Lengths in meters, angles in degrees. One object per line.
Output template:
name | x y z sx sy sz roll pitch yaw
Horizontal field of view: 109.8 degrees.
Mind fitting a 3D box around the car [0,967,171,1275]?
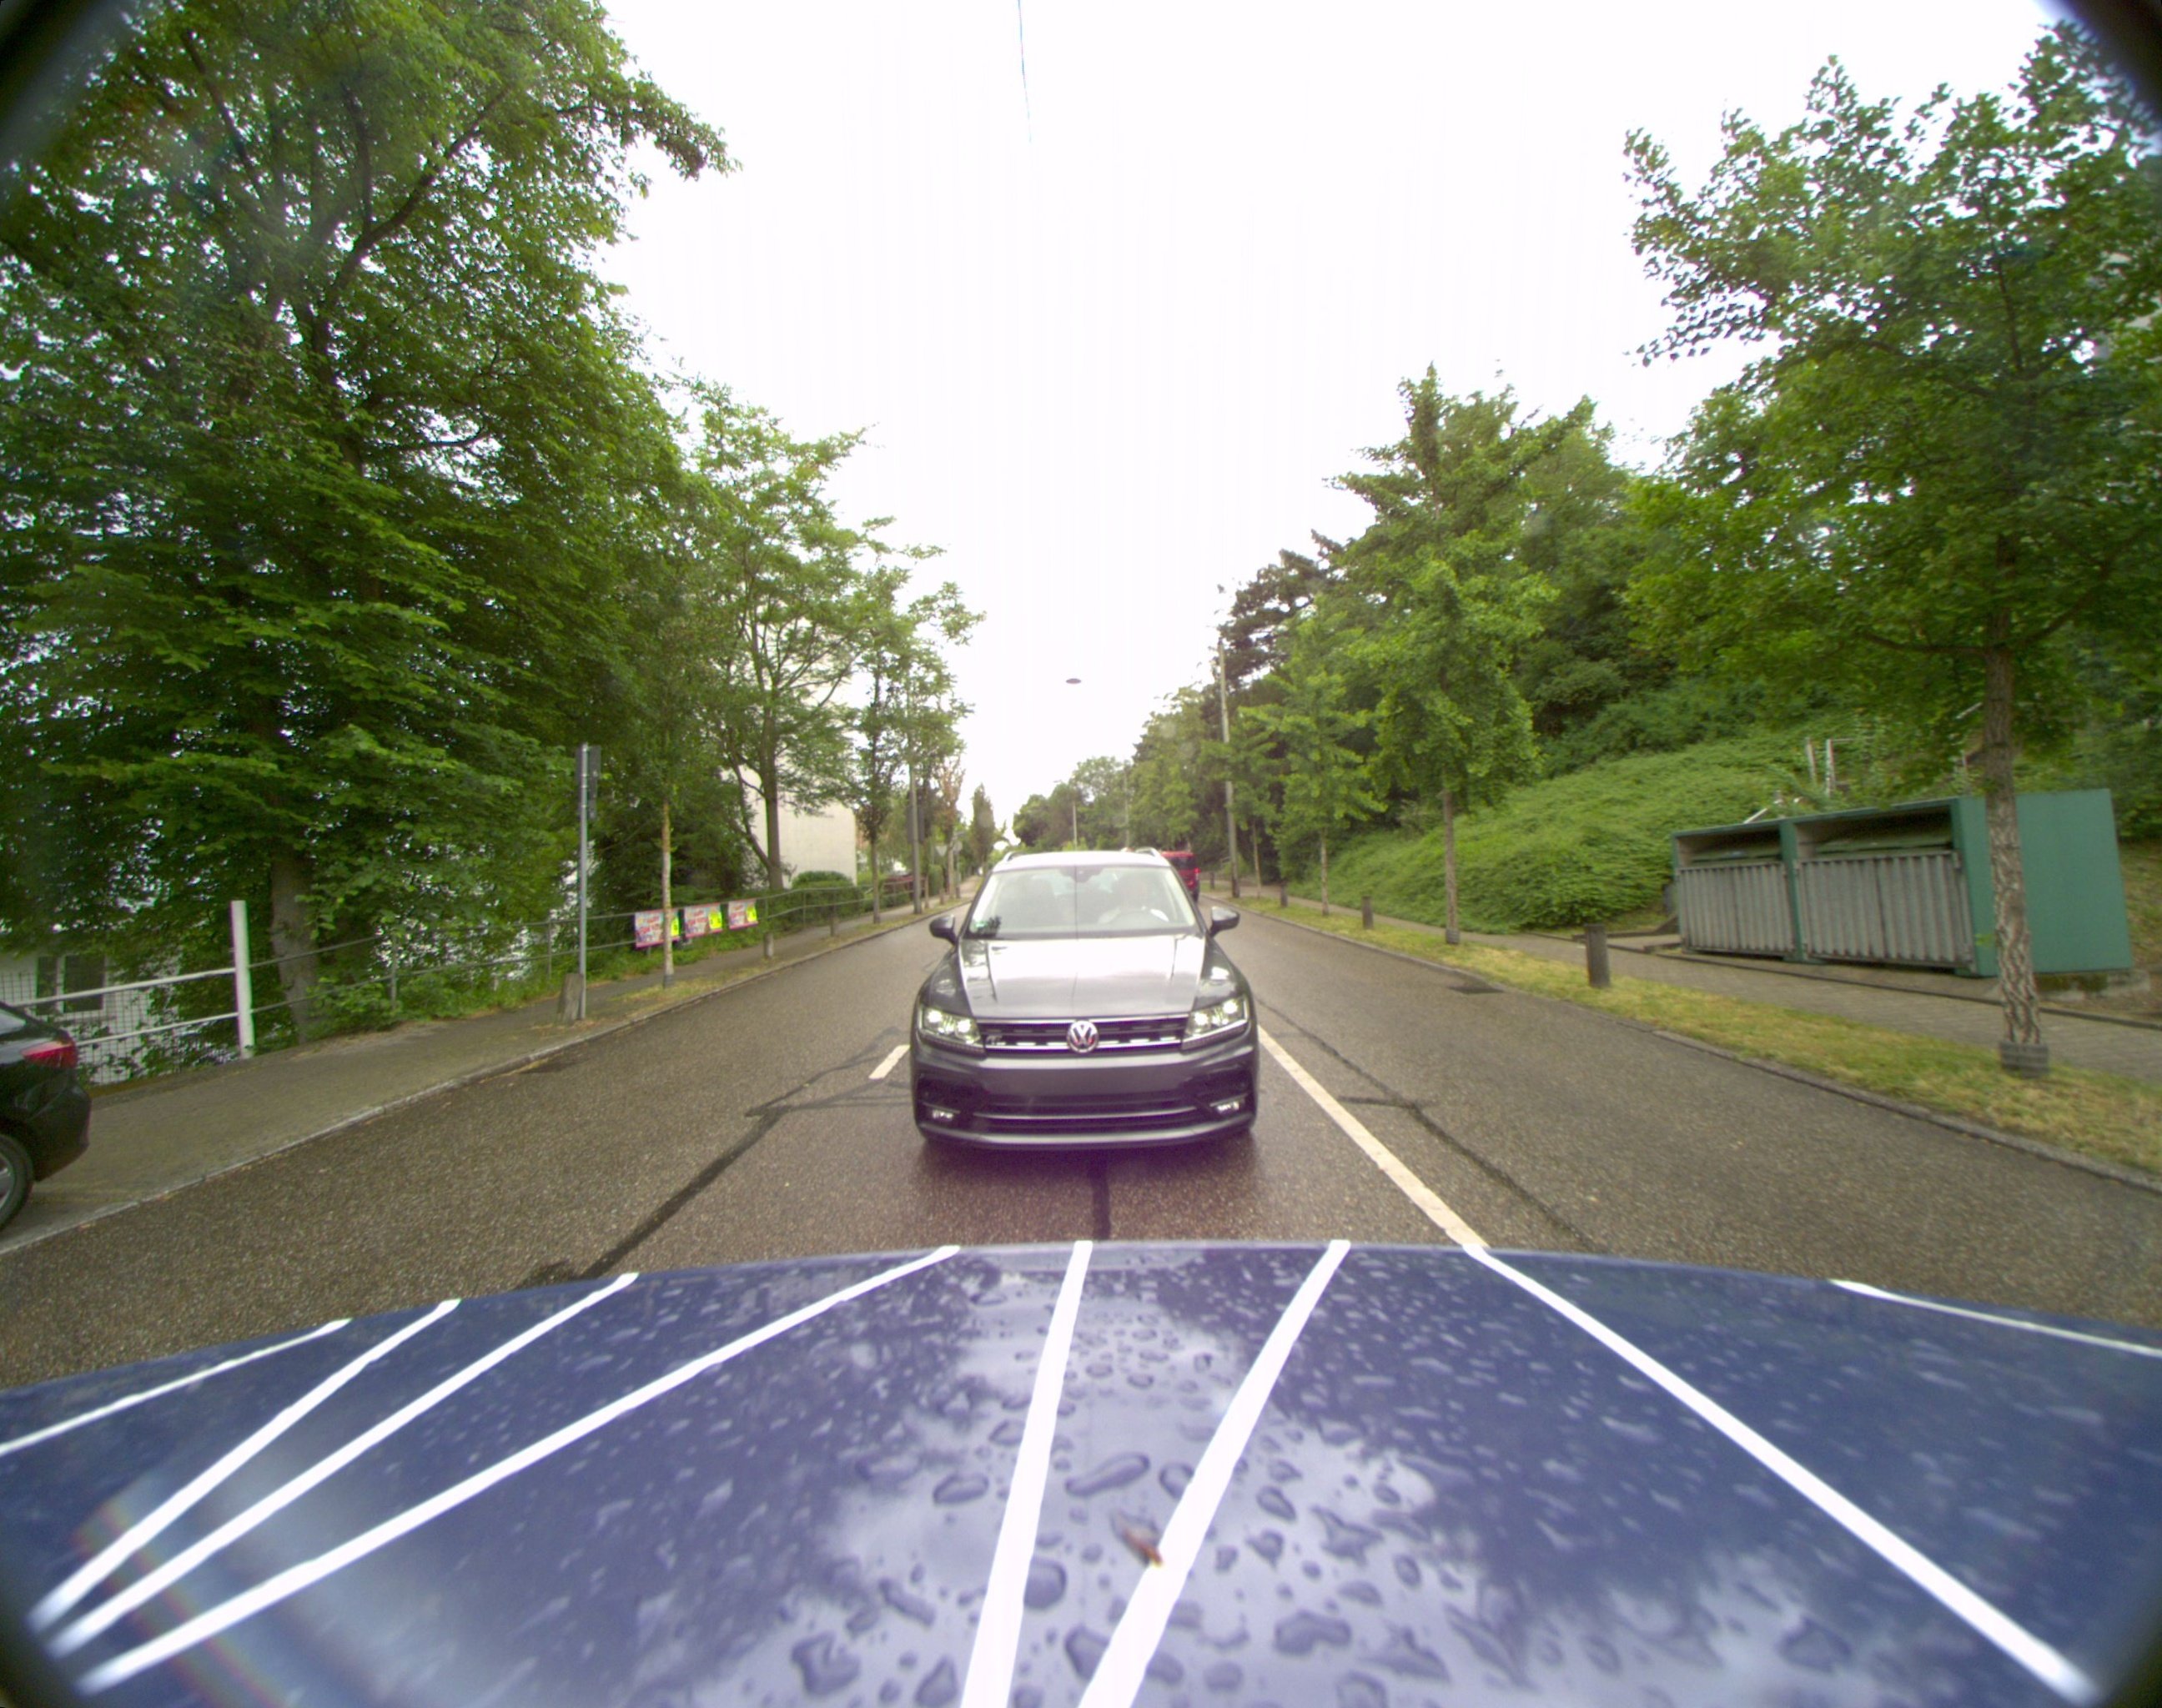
car | -6.334 1.375 2.235 1.999 1.426 4.442 0 0 -1

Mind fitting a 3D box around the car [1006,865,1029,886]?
car | -5.823 1.899 69.168 1.893 1.710 4.234 -1 1 -6

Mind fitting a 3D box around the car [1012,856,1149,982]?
car | 0.025 0.920 12.803 1.834 1.608 4.350 -3 1 1

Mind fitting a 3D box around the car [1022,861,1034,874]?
car | -9.178 2.340 131.238 1.835 2.003 4.054 -3 1 -8

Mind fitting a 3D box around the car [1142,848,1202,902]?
car | 3.305 0.697 28.299 1.751 1.817 4.458 -1 1 1

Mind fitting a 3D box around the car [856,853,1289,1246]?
car | -0.007 0.868 5.495 1.834 1.608 4.292 -3 1 1
